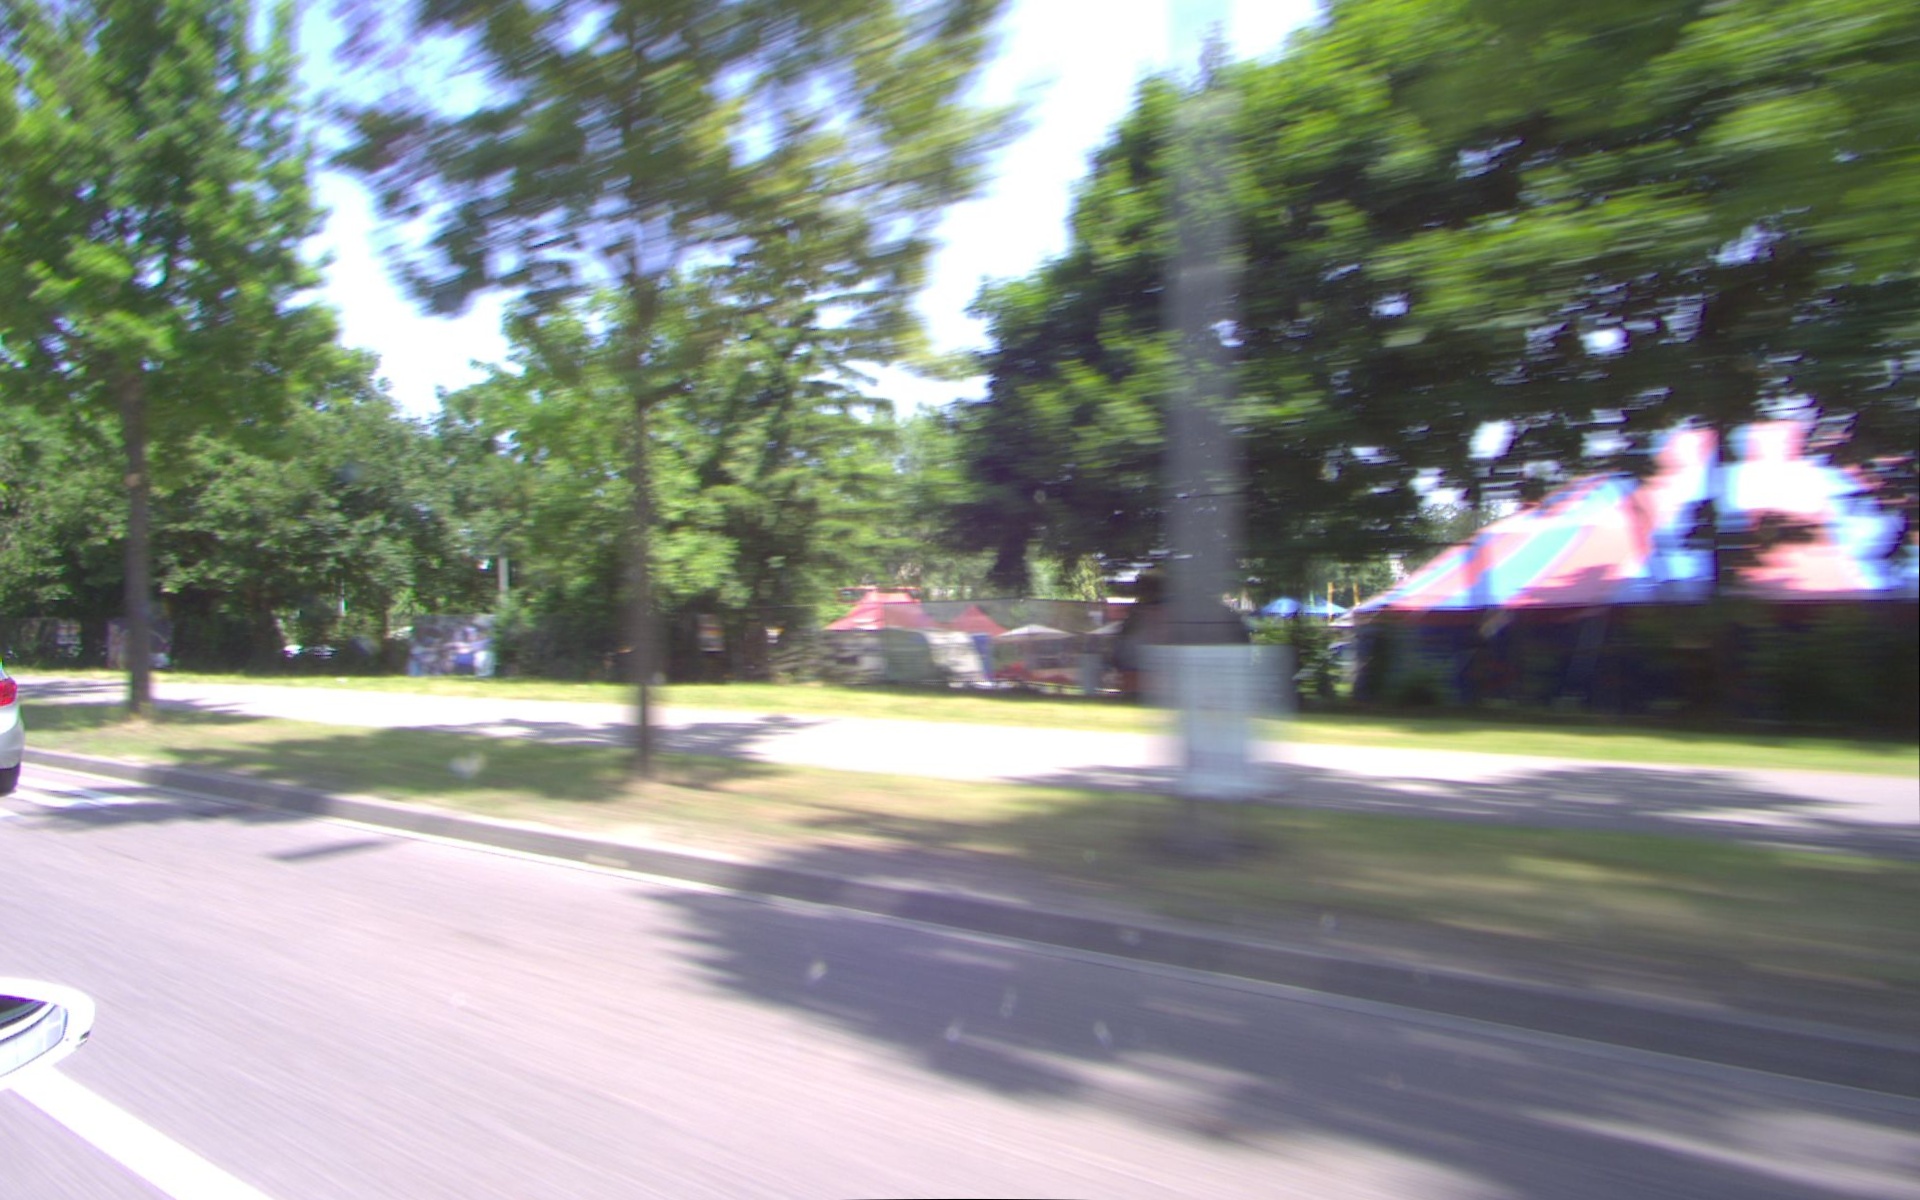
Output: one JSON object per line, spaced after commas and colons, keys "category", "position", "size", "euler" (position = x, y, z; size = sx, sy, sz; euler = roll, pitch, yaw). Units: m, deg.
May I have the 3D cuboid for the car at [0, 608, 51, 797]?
{"category": "car", "position": [-10.214, 0.877, 9.166], "size": [3.834, 1.633, 1.790], "euler": [0, -1, 31]}
